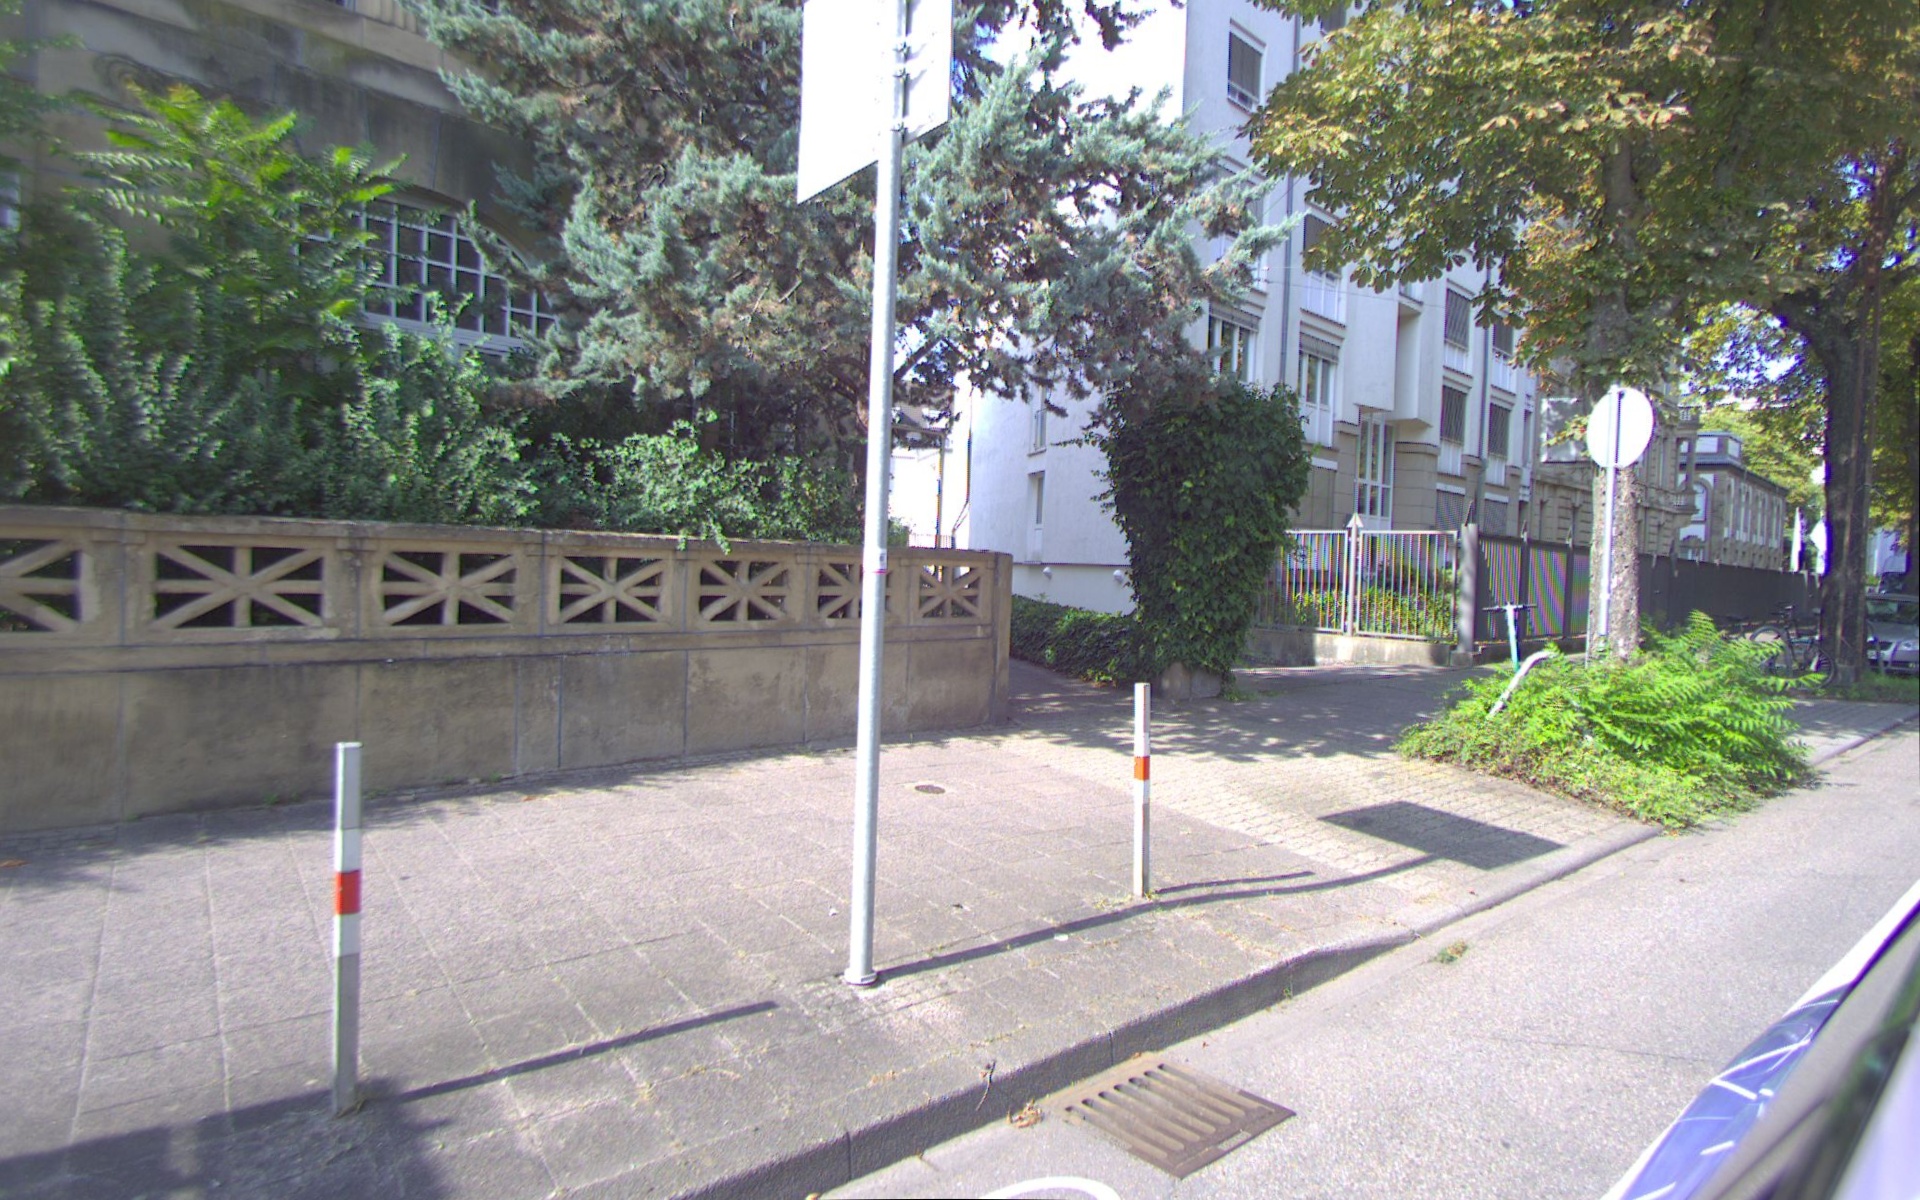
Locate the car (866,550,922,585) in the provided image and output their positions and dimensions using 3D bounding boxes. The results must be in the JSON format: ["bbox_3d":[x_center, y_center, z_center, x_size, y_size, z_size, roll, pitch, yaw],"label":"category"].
[{"bbox_3d":[-3.294,-1.636,49.876,1.797,1.585,4.010,1,2,-17],"label":"car"}]

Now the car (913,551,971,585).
[{"bbox_3d":[-0.954,-1.615,50.623,1.797,1.585,4.010,1,2,-17],"label":"car"}]

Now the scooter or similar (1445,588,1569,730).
[{"bbox_3d":[5.152,0.523,9.519,1.015,1.211,0.560,0,5,-37],"label":"scooter or similar"}]

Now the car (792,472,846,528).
[{"bbox_3d":[-7.659,-5.290,54.456,1.958,2.689,4.992,1,2,-18],"label":"car"}]

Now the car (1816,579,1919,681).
[{"bbox_3d":[16.930,0.493,18.281,4.283,1.541,1.610,0,6,-43],"label":"car"}]

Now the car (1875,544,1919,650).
[{"bbox_3d":[25.433,-0.045,26.090,6.123,2.529,2.049,0,3,-43],"label":"car"}]

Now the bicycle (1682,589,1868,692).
[{"bbox_3d":[10.941,0.534,13.644,1.812,1.179,0.504,4,7,8],"label":"bicycle"}]
